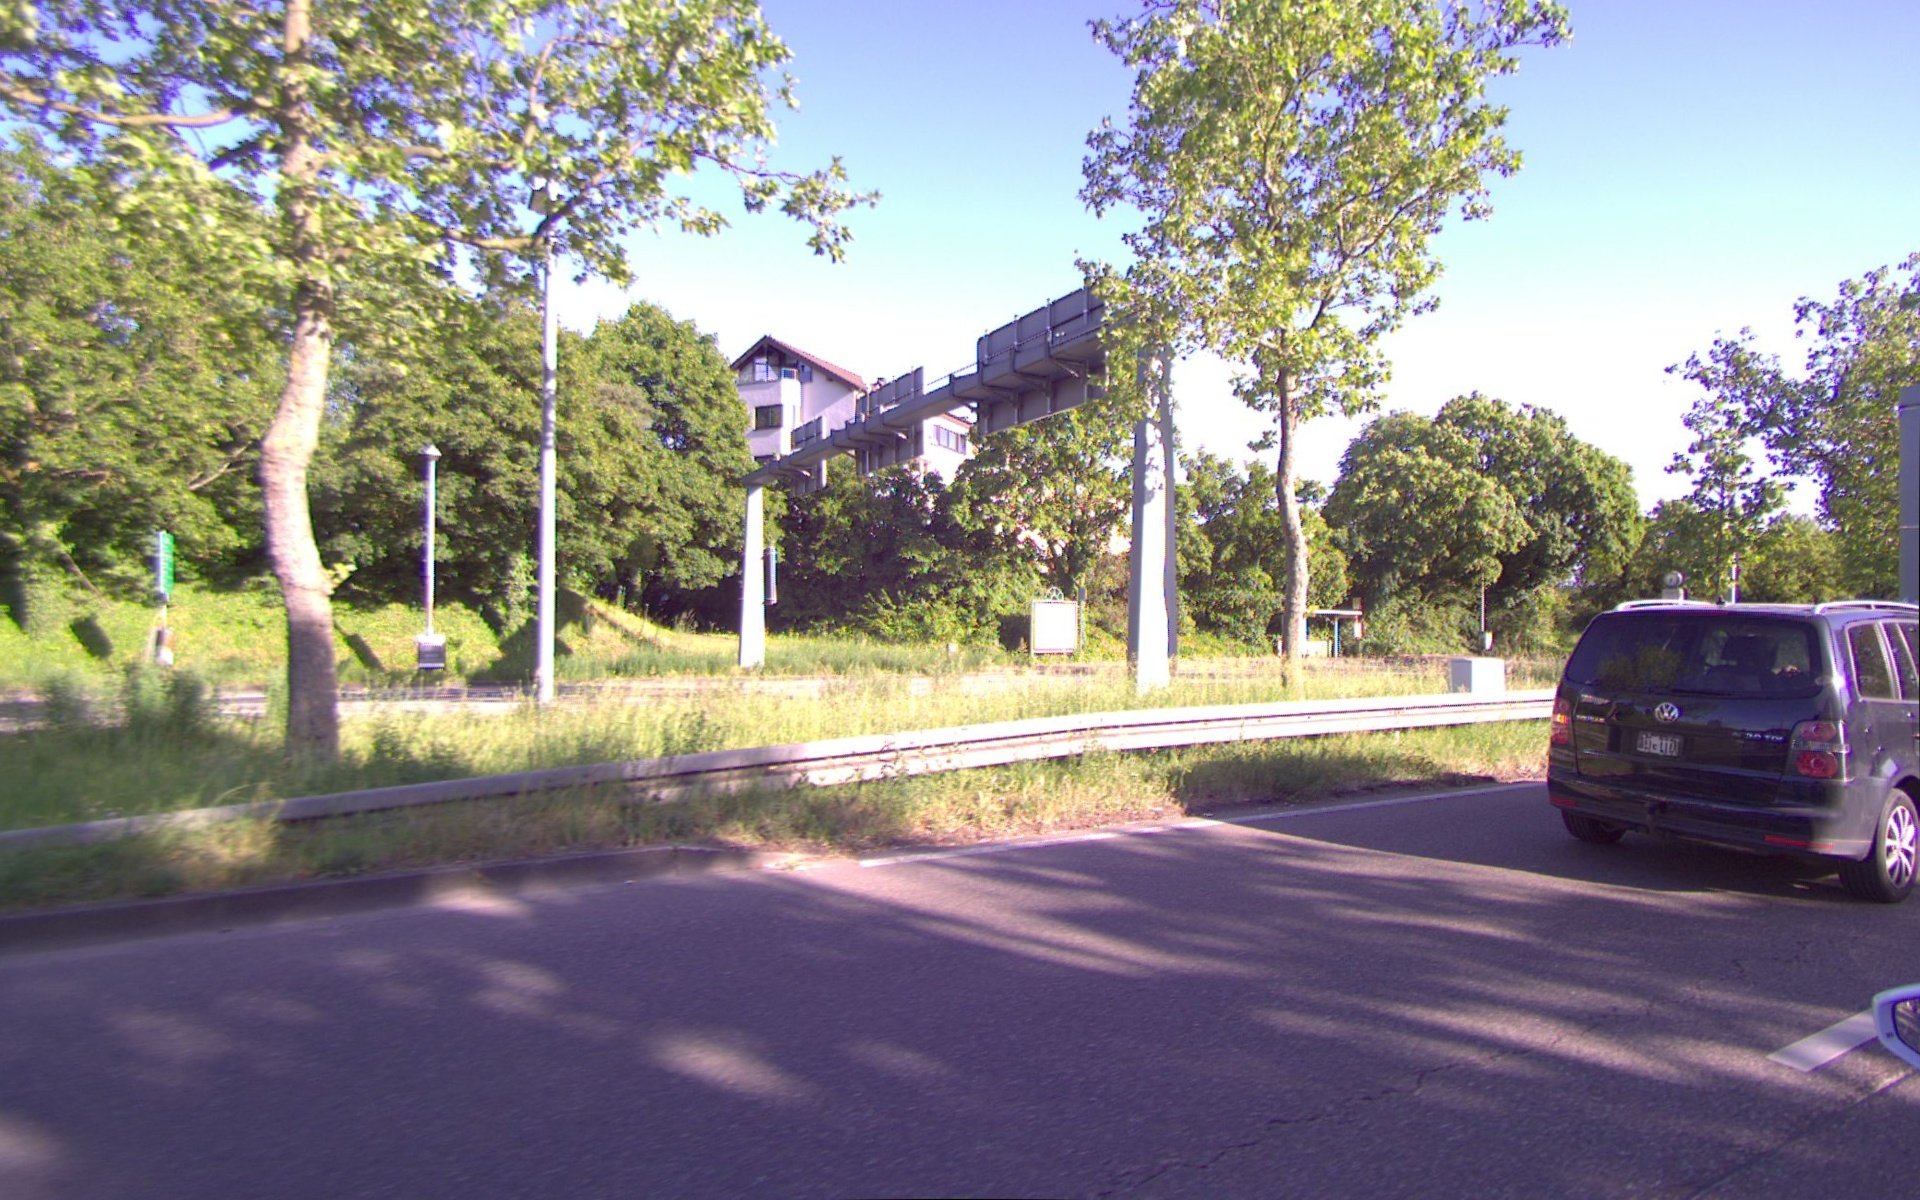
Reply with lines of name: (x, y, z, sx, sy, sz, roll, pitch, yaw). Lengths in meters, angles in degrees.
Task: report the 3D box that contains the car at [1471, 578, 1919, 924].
car: (5.783, 0.774, 6.821, 4.865, 1.666, 1.759, 1, 0, -30)
